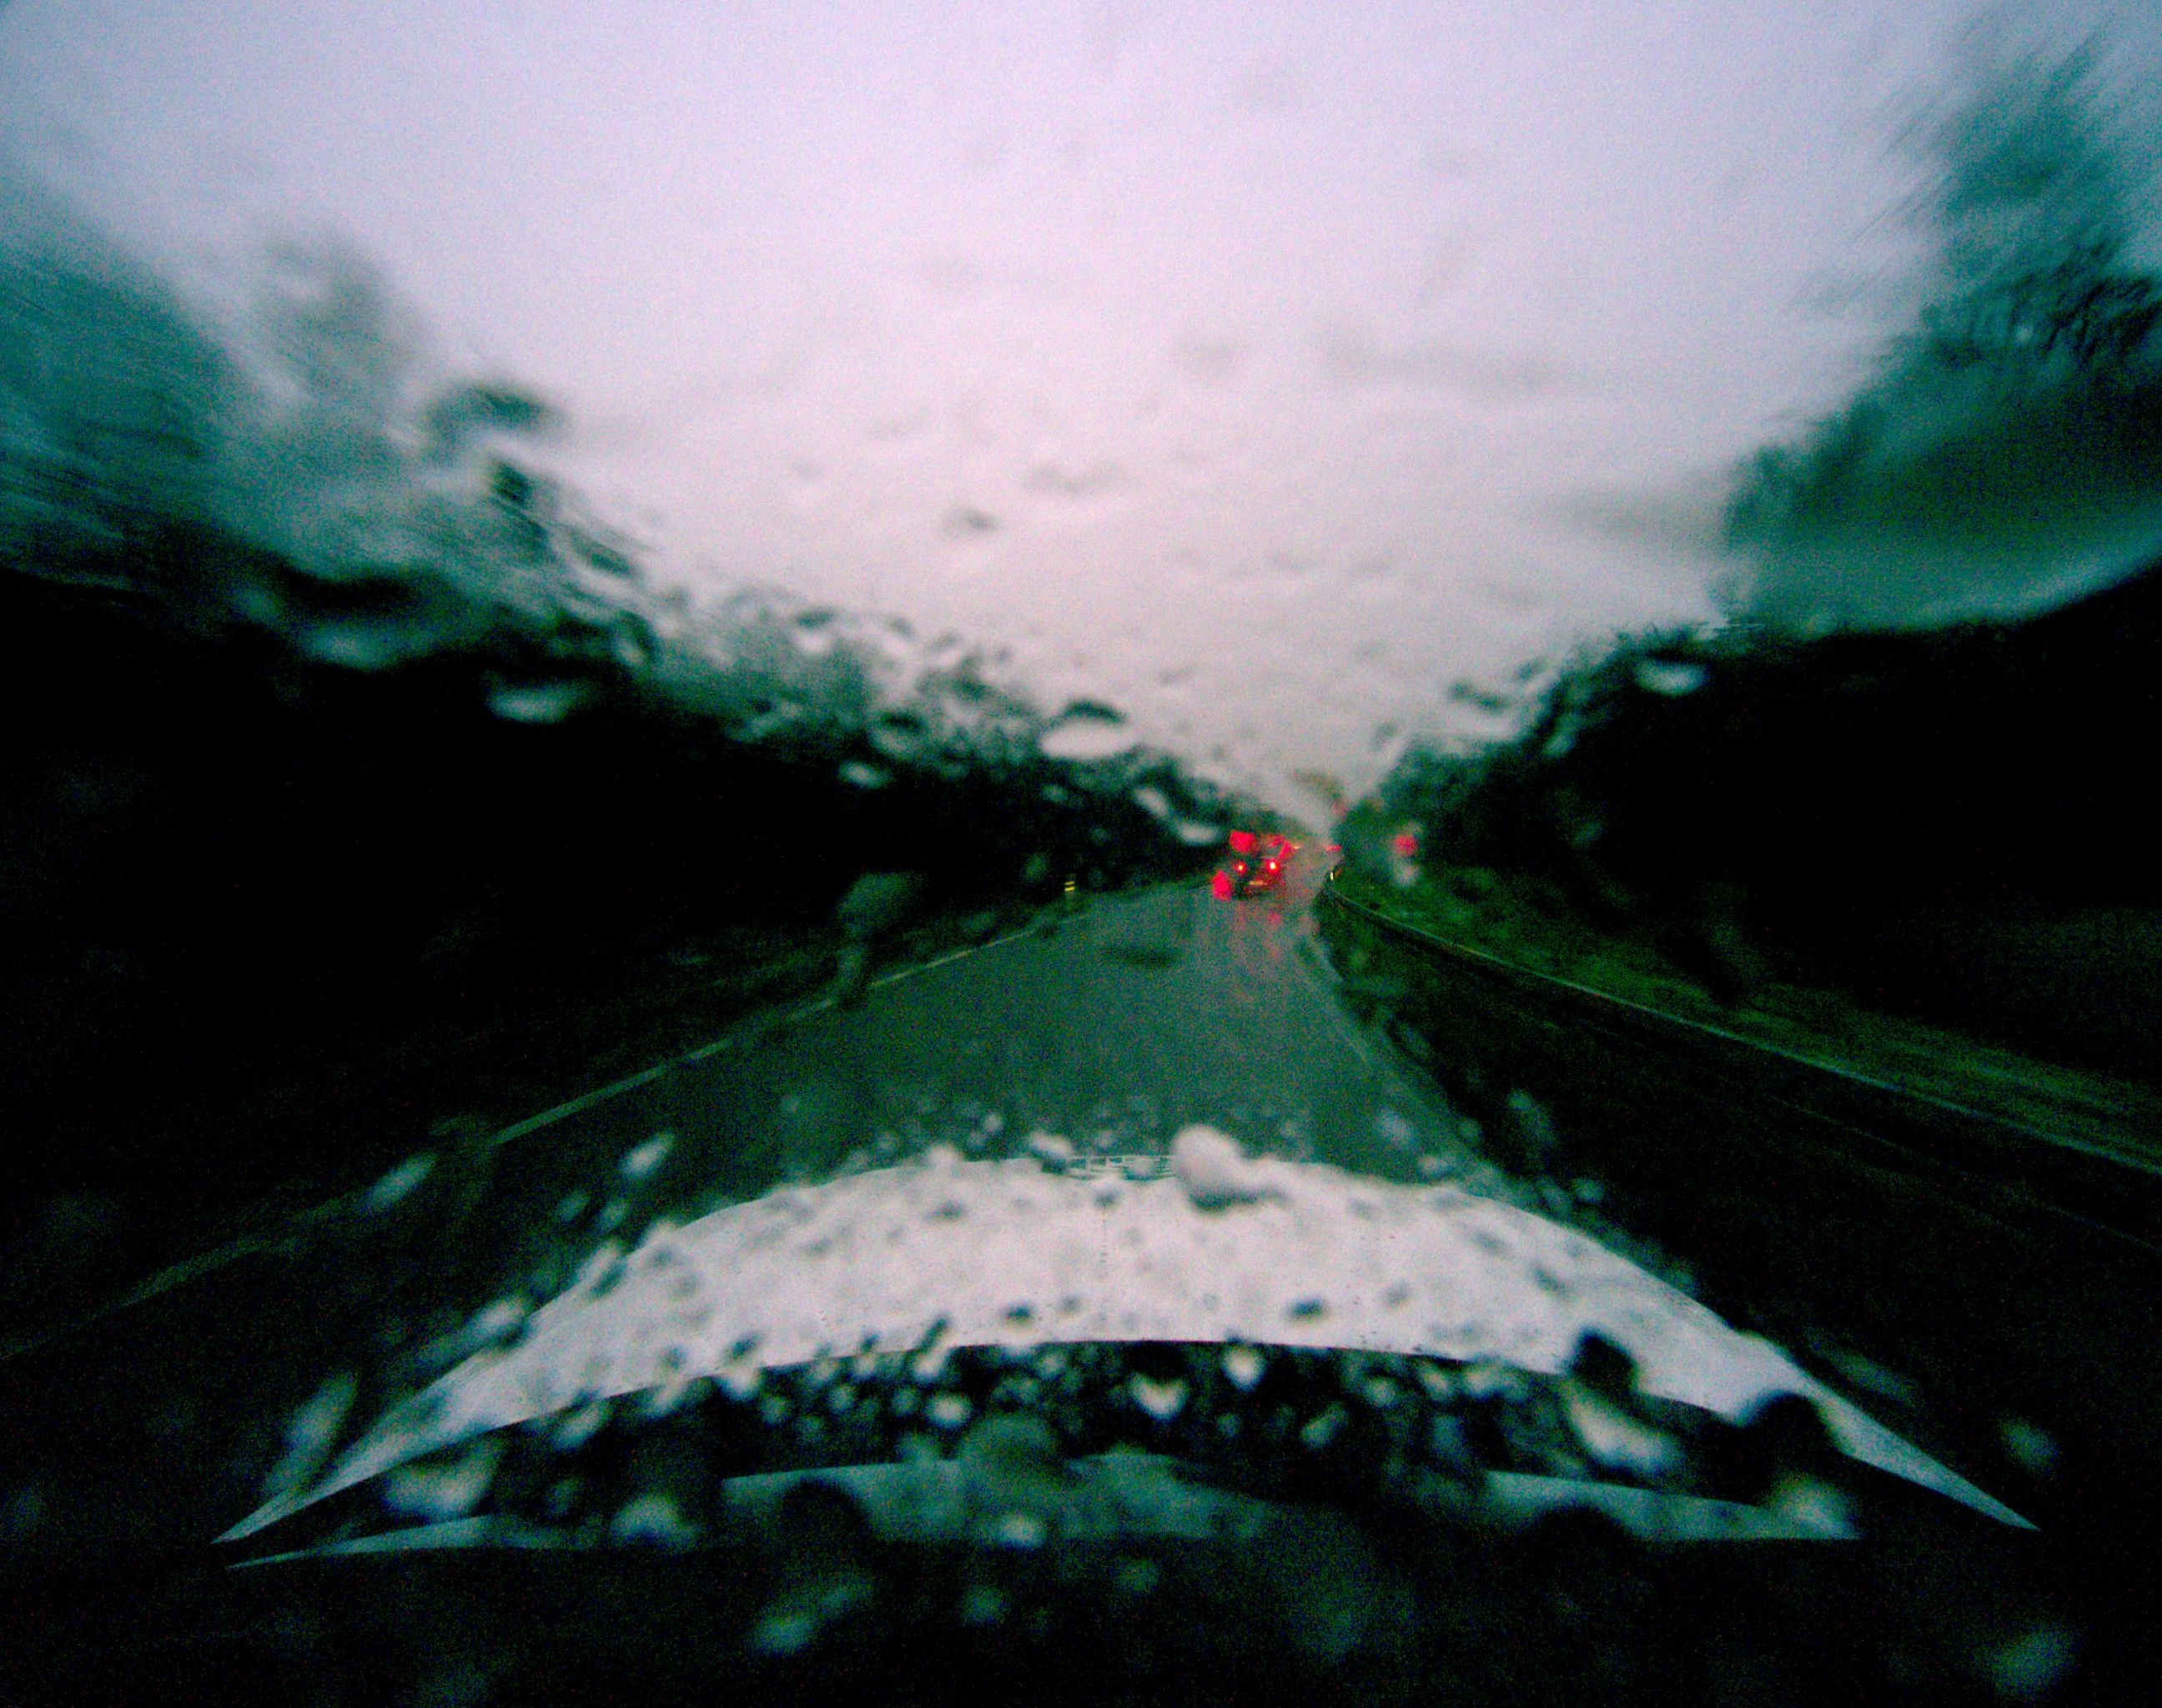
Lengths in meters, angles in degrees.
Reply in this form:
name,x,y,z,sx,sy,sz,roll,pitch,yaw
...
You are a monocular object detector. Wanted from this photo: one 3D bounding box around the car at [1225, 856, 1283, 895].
name,x,y,z,sx,sy,sz,roll,pitch,yaw
car,6.791,0.793,31.732,1.718,1.429,3.783,0,-1,19
